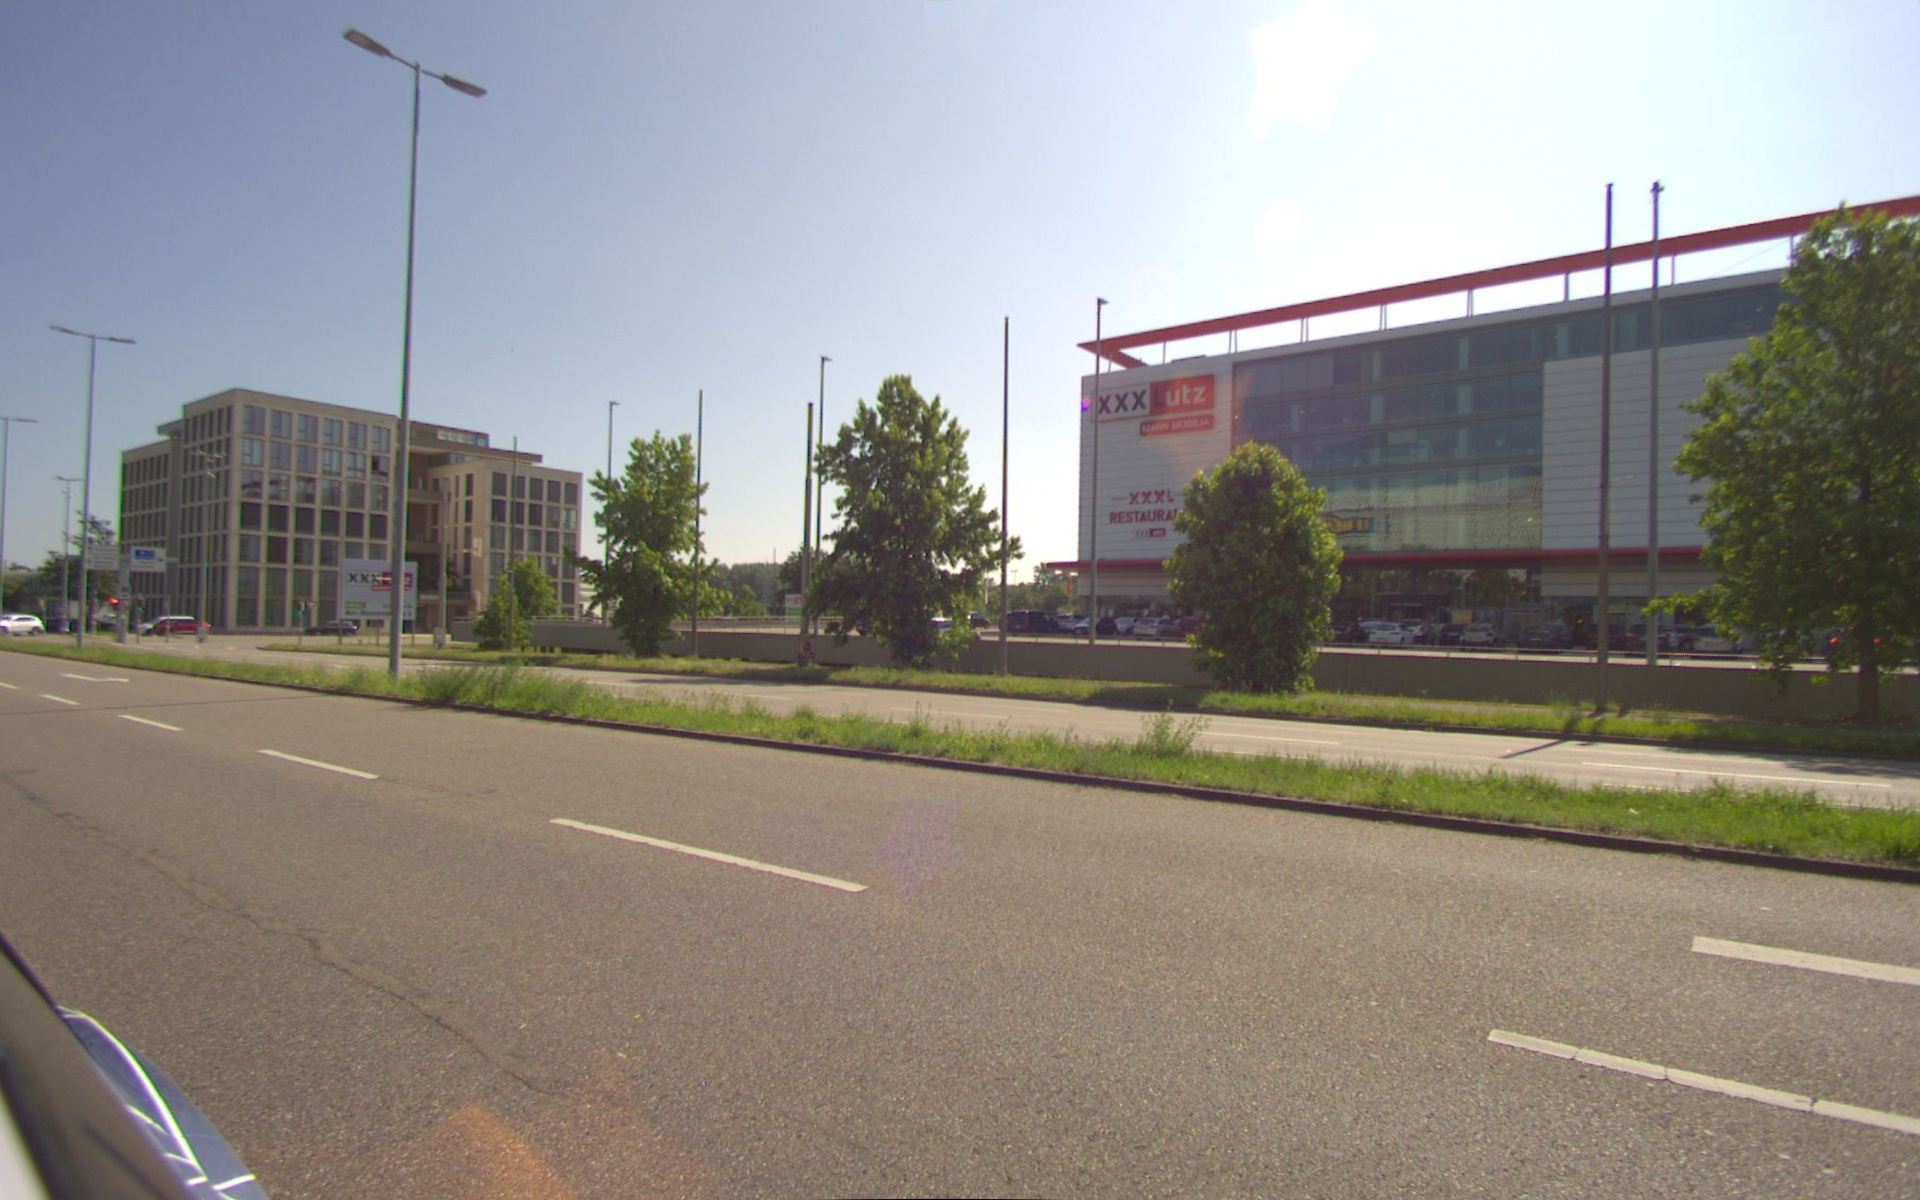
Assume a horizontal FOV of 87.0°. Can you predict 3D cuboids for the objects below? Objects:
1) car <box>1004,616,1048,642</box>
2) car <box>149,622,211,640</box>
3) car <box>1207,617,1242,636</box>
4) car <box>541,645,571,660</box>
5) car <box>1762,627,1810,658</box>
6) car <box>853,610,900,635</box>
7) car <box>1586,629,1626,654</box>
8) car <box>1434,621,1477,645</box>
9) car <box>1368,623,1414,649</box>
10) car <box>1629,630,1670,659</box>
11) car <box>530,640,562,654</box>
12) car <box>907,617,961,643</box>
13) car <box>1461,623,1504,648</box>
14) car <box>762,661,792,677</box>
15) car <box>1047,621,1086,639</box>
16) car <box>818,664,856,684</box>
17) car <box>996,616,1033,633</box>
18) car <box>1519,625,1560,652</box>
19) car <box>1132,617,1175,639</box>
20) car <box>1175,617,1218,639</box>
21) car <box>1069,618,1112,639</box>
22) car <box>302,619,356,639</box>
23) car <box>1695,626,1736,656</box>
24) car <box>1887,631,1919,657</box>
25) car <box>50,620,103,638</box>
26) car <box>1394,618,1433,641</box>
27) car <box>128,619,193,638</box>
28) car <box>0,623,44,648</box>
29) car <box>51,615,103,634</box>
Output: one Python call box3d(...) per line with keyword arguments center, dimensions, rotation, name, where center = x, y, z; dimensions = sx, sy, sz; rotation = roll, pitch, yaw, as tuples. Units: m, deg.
box3d(center=(4.677, 2.040, 71.715), dimensions=(1.689, 1.771, 3.059), rotation=(1, -1, 37), name="car")
box3d(center=(-68.799, 2.750, 89.296), dimensions=(1.528, 1.539, 4.070), rotation=(-1, -2, 35), name="car")
box3d(center=(19.977, 2.017, 76.453), dimensions=(1.513, 1.340, 3.059), rotation=(1, -1, 37), name="car")
box3d(center=(-29.091, 3.785, 72.872), dimensions=(0.864, 0.983, 1.826), rotation=(1, -1, 35), name="car")
box3d(center=(37.533, 1.919, 46.027), dimensions=(1.513, 1.340, 3.059), rotation=(1, -1, 37), name="car")
box3d(center=(-5.476, 1.495, 66.566), dimensions=(1.771, 1.568, 2.741), rotation=(-1, -3, 37), name="car")
box3d(center=(34.900, 2.216, 54.631), dimensions=(1.603, 1.237, 3.059), rotation=(1, -1, 37), name="car")
box3d(center=(28.920, 1.935, 59.064), dimensions=(1.627, 1.340, 3.631), rotation=(1, -1, 37), name="car")
box3d(center=(24.232, 2.016, 56.897), dimensions=(1.701, 1.340, 3.059), rotation=(1, -1, 37), name="car")
box3d(center=(33.364, 2.142, 48.926), dimensions=(1.513, 1.303, 3.059), rotation=(1, -1, 37), name="car")
box3d(center=(-30.349, 3.449, 74.216), dimensions=(1.070, 1.016, 1.918), rotation=(-1, -3, 39), name="car")
box3d(center=(-1.106, 1.307, 44.255), dimensions=(1.069, 1.067, 2.491), rotation=(1, -1, 35), name="car")
box3d(center=(27.775, 1.883, 53.776), dimensions=(1.478, 1.208, 3.467), rotation=(1, -1, 36), name="car")
box3d(center=(-12.668, 4.787, 70.171), dimensions=(0.908, 0.983, 1.920), rotation=(1, -1, 35), name="car")
box3d(center=(7.935, 2.242, 75.433), dimensions=(1.513, 1.340, 3.059), rotation=(1, -1, 37), name="car")
box3d(center=(-6.685, 4.032, 55.079), dimensions=(1.069, 0.983, 1.920), rotation=(1, -1, 35), name="car")
box3d(center=(4.251, 1.921, 79.182), dimensions=(1.513, 1.340, 2.983), rotation=(1, -1, 37), name="car")
box3d(center=(29.722, 1.959, 51.878), dimensions=(1.513, 1.340, 3.059), rotation=(1, -1, 37), name="car")
box3d(center=(12.520, 1.813, 65.370), dimensions=(1.513, 1.340, 3.184), rotation=(1, -1, 37), name="car")
box3d(center=(15.079, 1.762, 64.484), dimensions=(1.513, 1.340, 3.184), rotation=(1, -1, 37), name="car")
box3d(center=(8.826, 1.949, 68.294), dimensions=(1.513, 1.340, 3.059), rotation=(1, -1, 37), name="car")
box3d(center=(-63.291, 2.925, 101.616), dimensions=(1.832, 1.903, 4.189), rotation=(0, -1, 38), name="car")
box3d(center=(35.641, 1.917, 47.765), dimensions=(1.513, 1.340, 3.059), rotation=(1, -1, 37), name="car")
box3d(center=(51.438, 2.397, 54.782), dimensions=(1.513, 1.340, 3.059), rotation=(1, -1, 37), name="car")
box3d(center=(-94.298, 3.137, 108.036), dimensions=(3.932, 1.841, 2.006), rotation=(2, -3, -31), name="car")
box3d(center=(27.361, 1.786, 61.030), dimensions=(1.513, 1.340, 3.059), rotation=(1, -1, 37), name="car")
box3d(center=(-71.871, 2.573, 91.009), dimensions=(1.900, 1.724, 4.180), rotation=(-1, -2, 35), name="car")
box3d(center=(-73.519, 2.723, 77.779), dimensions=(2.005, 1.852, 4.296), rotation=(1, -1, 11), name="car")
box3d(center=(-96.801, 2.689, 111.053), dimensions=(3.932, 2.029, 2.006), rotation=(2, -3, -31), name="car")
